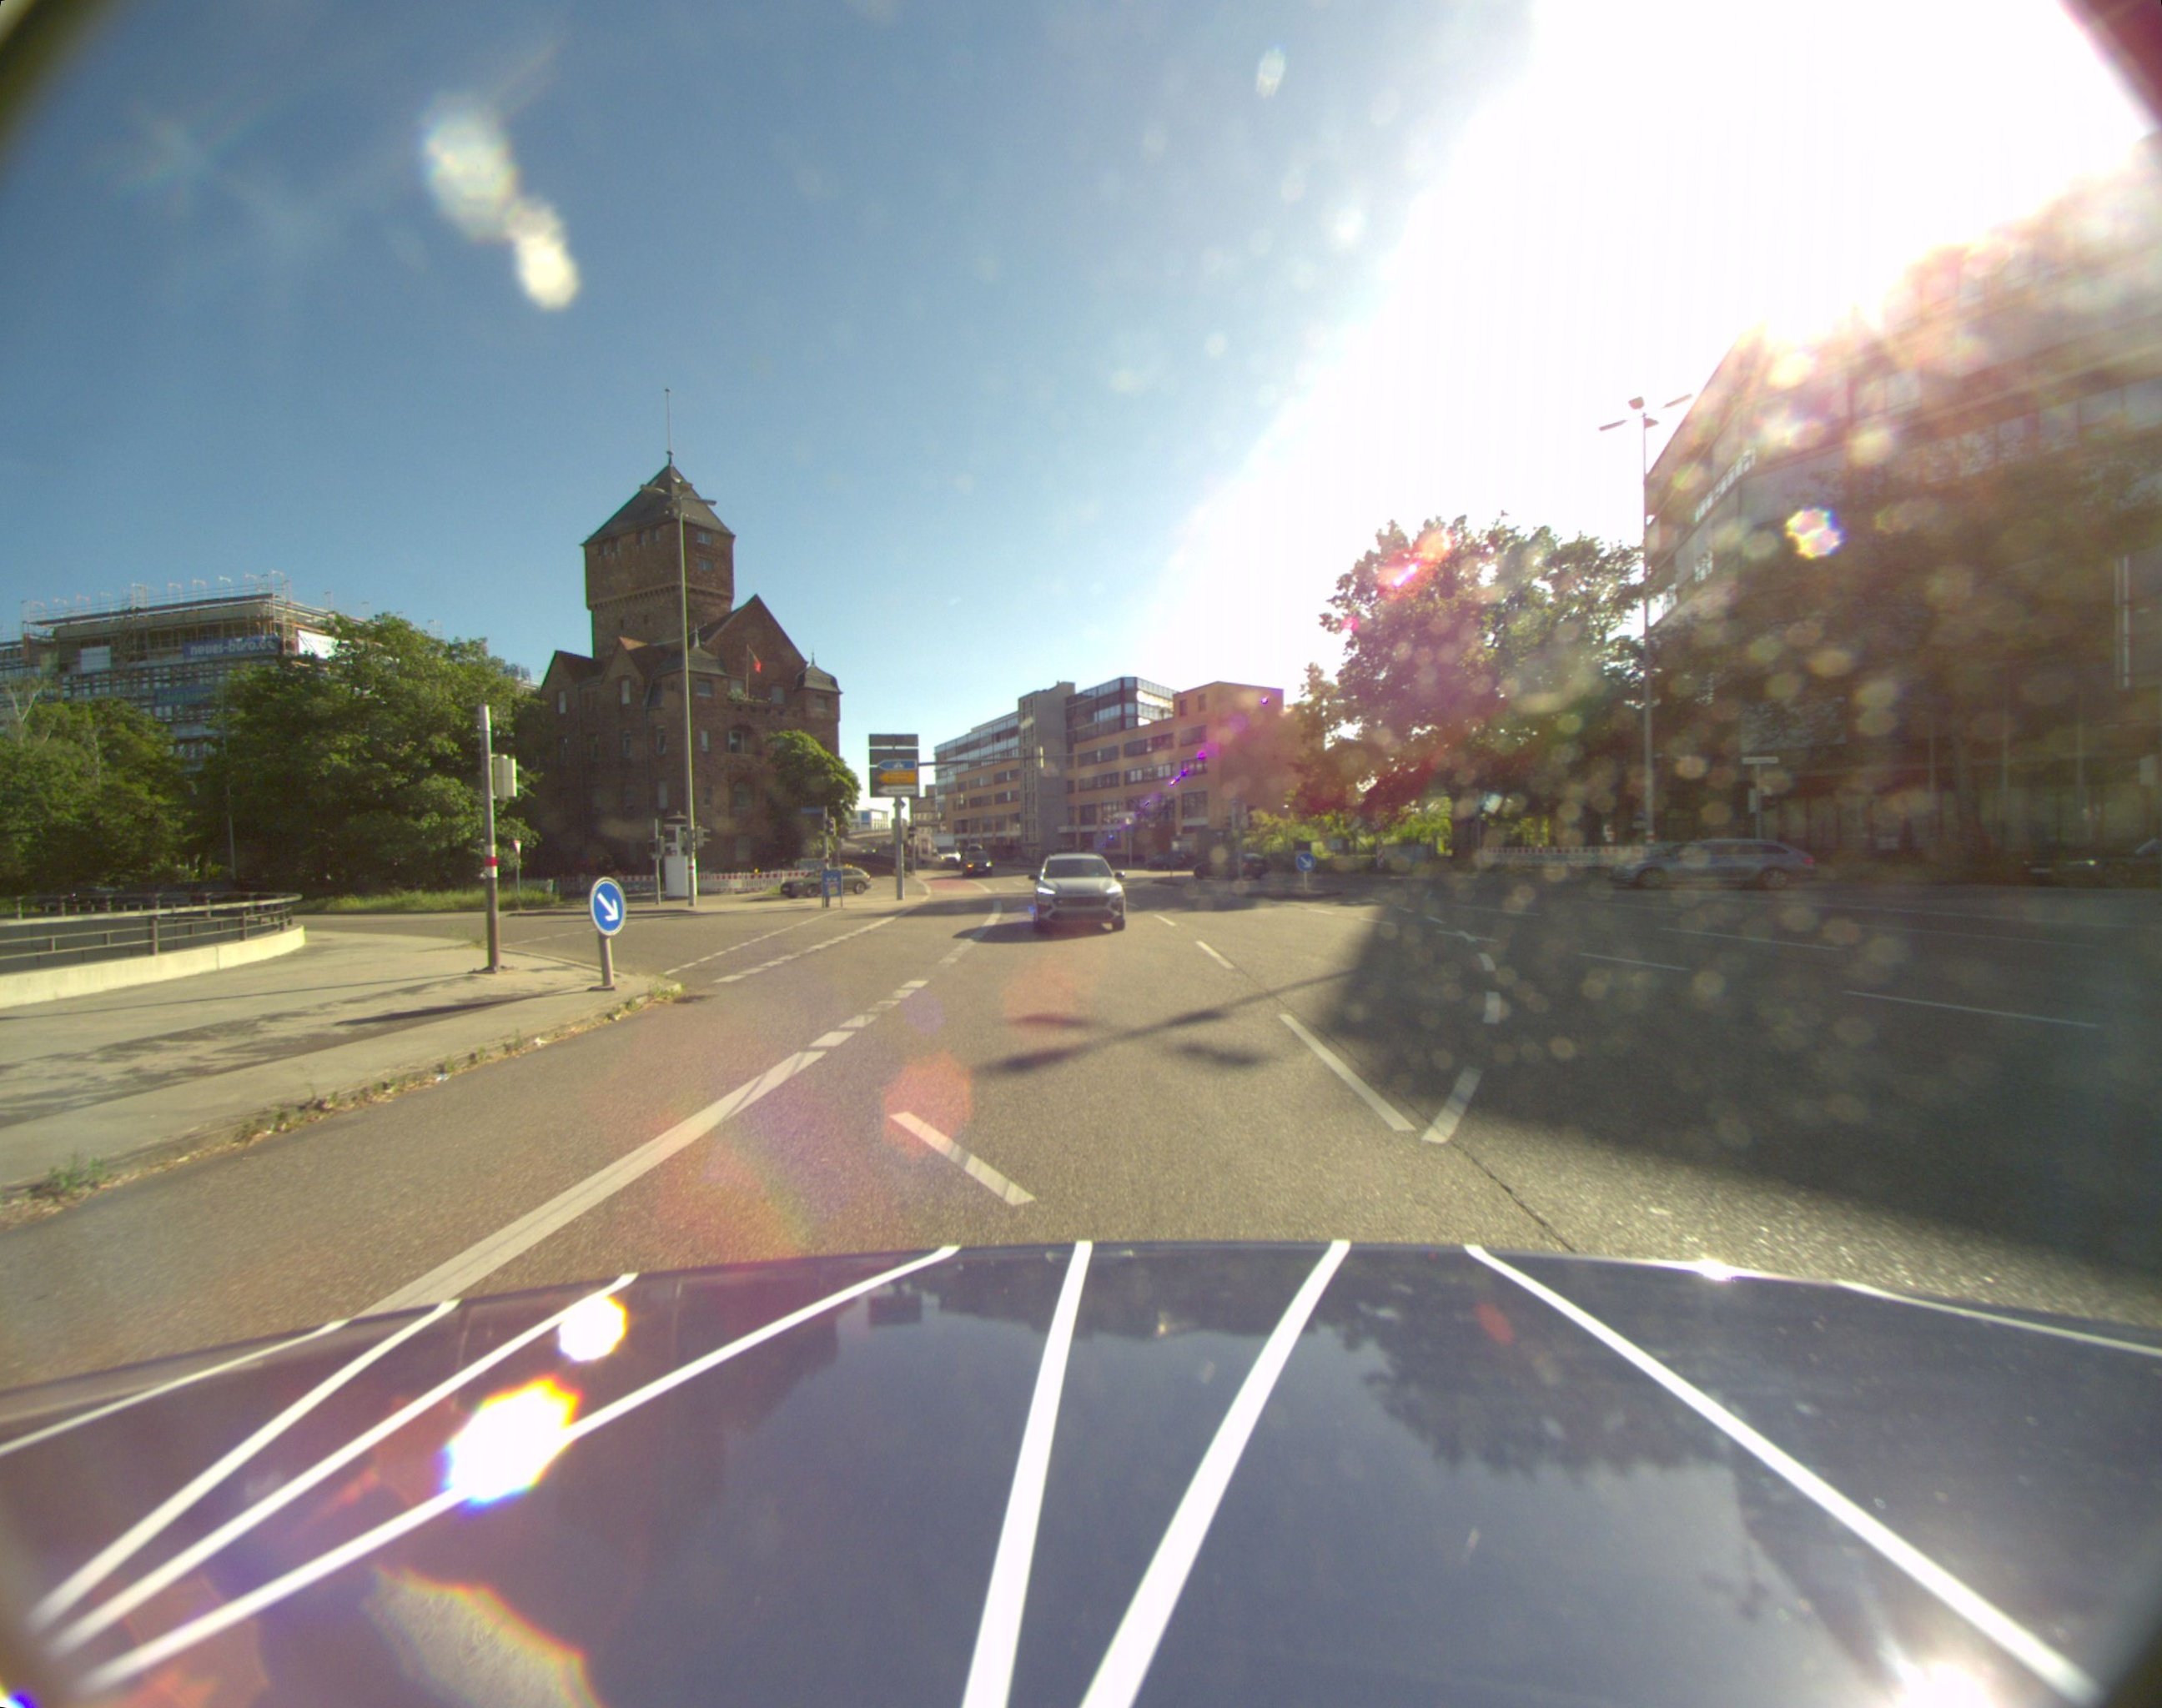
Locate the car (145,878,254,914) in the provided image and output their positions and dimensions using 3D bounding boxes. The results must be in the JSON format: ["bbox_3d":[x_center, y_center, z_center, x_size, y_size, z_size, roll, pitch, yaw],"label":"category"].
[{"bbox_3d":[-44.903,2.098,38.830,2.002,1.552,3.775,-2,0,-20],"label":"car"}]

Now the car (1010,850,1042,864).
[{"bbox_3d":[-6.372,0.329,87.526,1.883,1.515,4.151,-2,1,-31],"label":"car"}]

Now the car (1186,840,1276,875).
[{"bbox_3d":[7.511,0.178,38.626,1.954,1.612,4.775,-2,1,-26],"label":"car"}]

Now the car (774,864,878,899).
[{"bbox_3d":[-12.692,1.333,38.117,1.875,1.462,4.644,-4,-1,35],"label":"car"}]

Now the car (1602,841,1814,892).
[{"bbox_3d":[18.571,0.394,22.790,4.499,1.350,1.883,-2,-1,21],"label":"car"}]

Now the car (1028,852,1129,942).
[{"bbox_3d":[-0.149,0.803,16.442,1.879,1.612,4.194,-1,1,-3],"label":"car"}]

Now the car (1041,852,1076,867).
[{"bbox_3d":[-2.406,0.598,79.801,1.641,1.515,4.150,-2,1,-33],"label":"car"}]

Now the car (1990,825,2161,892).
[{"bbox_3d":[28.242,0.110,20.773,4.191,1.690,1.816,-2,1,8],"label":"car"}]

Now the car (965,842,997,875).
[{"bbox_3d":[-7.268,0.284,54.790,1.952,2.248,4.780,-2,1,-11],"label":"car"}]

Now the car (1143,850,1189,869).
[{"bbox_3d":[7.044,0.464,63.245,1.662,1.500,4.370,0,-1,-26],"label":"car"}]

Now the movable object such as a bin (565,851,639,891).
[{"bbox_3d":[-29.868,1.068,47.411,3.990,2.395,2.003,-1,1,25],"label":"movable object such as a bin"}]

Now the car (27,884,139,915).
[{"bbox_3d":[-55.752,2.490,42.553,2.002,1.445,3.775,-2,0,-20],"label":"car"}]

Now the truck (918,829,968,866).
[{"bbox_3d":[-12.487,-0.524,68.428,2.508,3.110,6.944,-2,1,-27],"label":"truck"}]

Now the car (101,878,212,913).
[{"bbox_3d":[-48.579,2.150,40.056,2.002,1.552,3.775,-2,0,-20],"label":"car"}]

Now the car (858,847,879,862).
[{"bbox_3d":[-27.251,0.052,97.274,1.760,1.749,4.775,-2,1,-25],"label":"car"}]

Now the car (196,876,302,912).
[{"bbox_3d":[-41.720,1.945,38.216,2.002,1.552,3.775,-2,0,-20],"label":"car"}]
